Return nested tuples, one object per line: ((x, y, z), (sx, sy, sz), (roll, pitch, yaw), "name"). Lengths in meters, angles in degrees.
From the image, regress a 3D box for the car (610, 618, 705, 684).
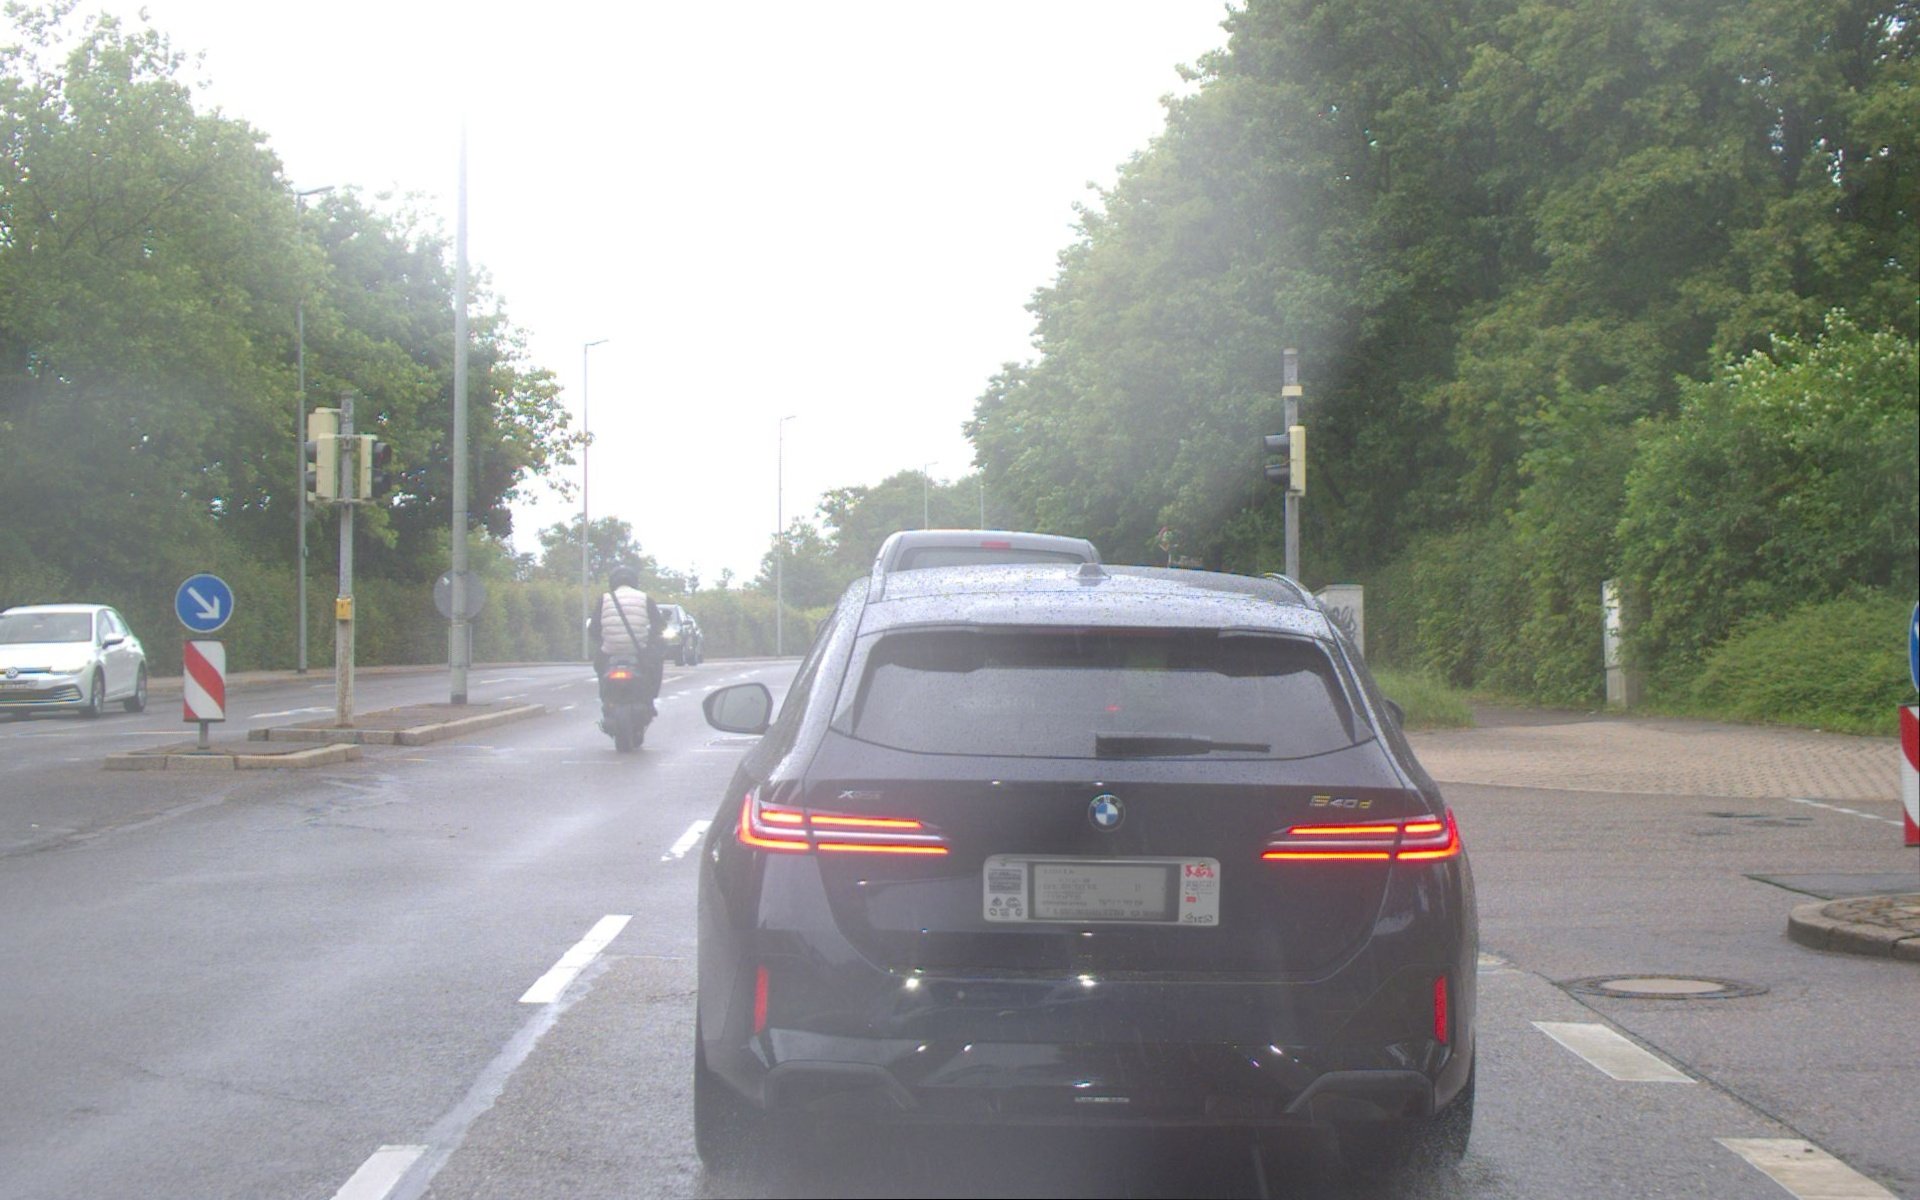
((-7.559, 1.265, 86.188), (2.025, 1.558, 3.877), (-1, 0, 0), "car")

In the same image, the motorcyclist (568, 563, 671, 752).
((-2.990, 0.502, 30.211), (0.845, 1.641, 0.468), (1, 1, 1), "motorcyclist")

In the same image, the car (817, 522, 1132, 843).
((0.104, 0.436, 21.614), (1.767, 1.804, 3.905), (1, 1, 1), "car")

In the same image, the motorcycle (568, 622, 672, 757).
((-2.976, 0.774, 30.204), (0.741, 1.116, 1.426), (1, 1, 1), "motorcycle")

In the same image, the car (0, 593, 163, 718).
((-11.601, 0.684, 44.175), (1.727, 1.480, 4.157), (-2, 1, 0), "car")

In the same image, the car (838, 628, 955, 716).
((-1.136, 1.299, 63.466), (2.015, 1.410, 4.486), (1, 1, 1), "car")

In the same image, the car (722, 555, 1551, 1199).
((0.398, 0.664, 9.265), (1.764, 1.531, 3.673), (1, 1, 1), "car")
